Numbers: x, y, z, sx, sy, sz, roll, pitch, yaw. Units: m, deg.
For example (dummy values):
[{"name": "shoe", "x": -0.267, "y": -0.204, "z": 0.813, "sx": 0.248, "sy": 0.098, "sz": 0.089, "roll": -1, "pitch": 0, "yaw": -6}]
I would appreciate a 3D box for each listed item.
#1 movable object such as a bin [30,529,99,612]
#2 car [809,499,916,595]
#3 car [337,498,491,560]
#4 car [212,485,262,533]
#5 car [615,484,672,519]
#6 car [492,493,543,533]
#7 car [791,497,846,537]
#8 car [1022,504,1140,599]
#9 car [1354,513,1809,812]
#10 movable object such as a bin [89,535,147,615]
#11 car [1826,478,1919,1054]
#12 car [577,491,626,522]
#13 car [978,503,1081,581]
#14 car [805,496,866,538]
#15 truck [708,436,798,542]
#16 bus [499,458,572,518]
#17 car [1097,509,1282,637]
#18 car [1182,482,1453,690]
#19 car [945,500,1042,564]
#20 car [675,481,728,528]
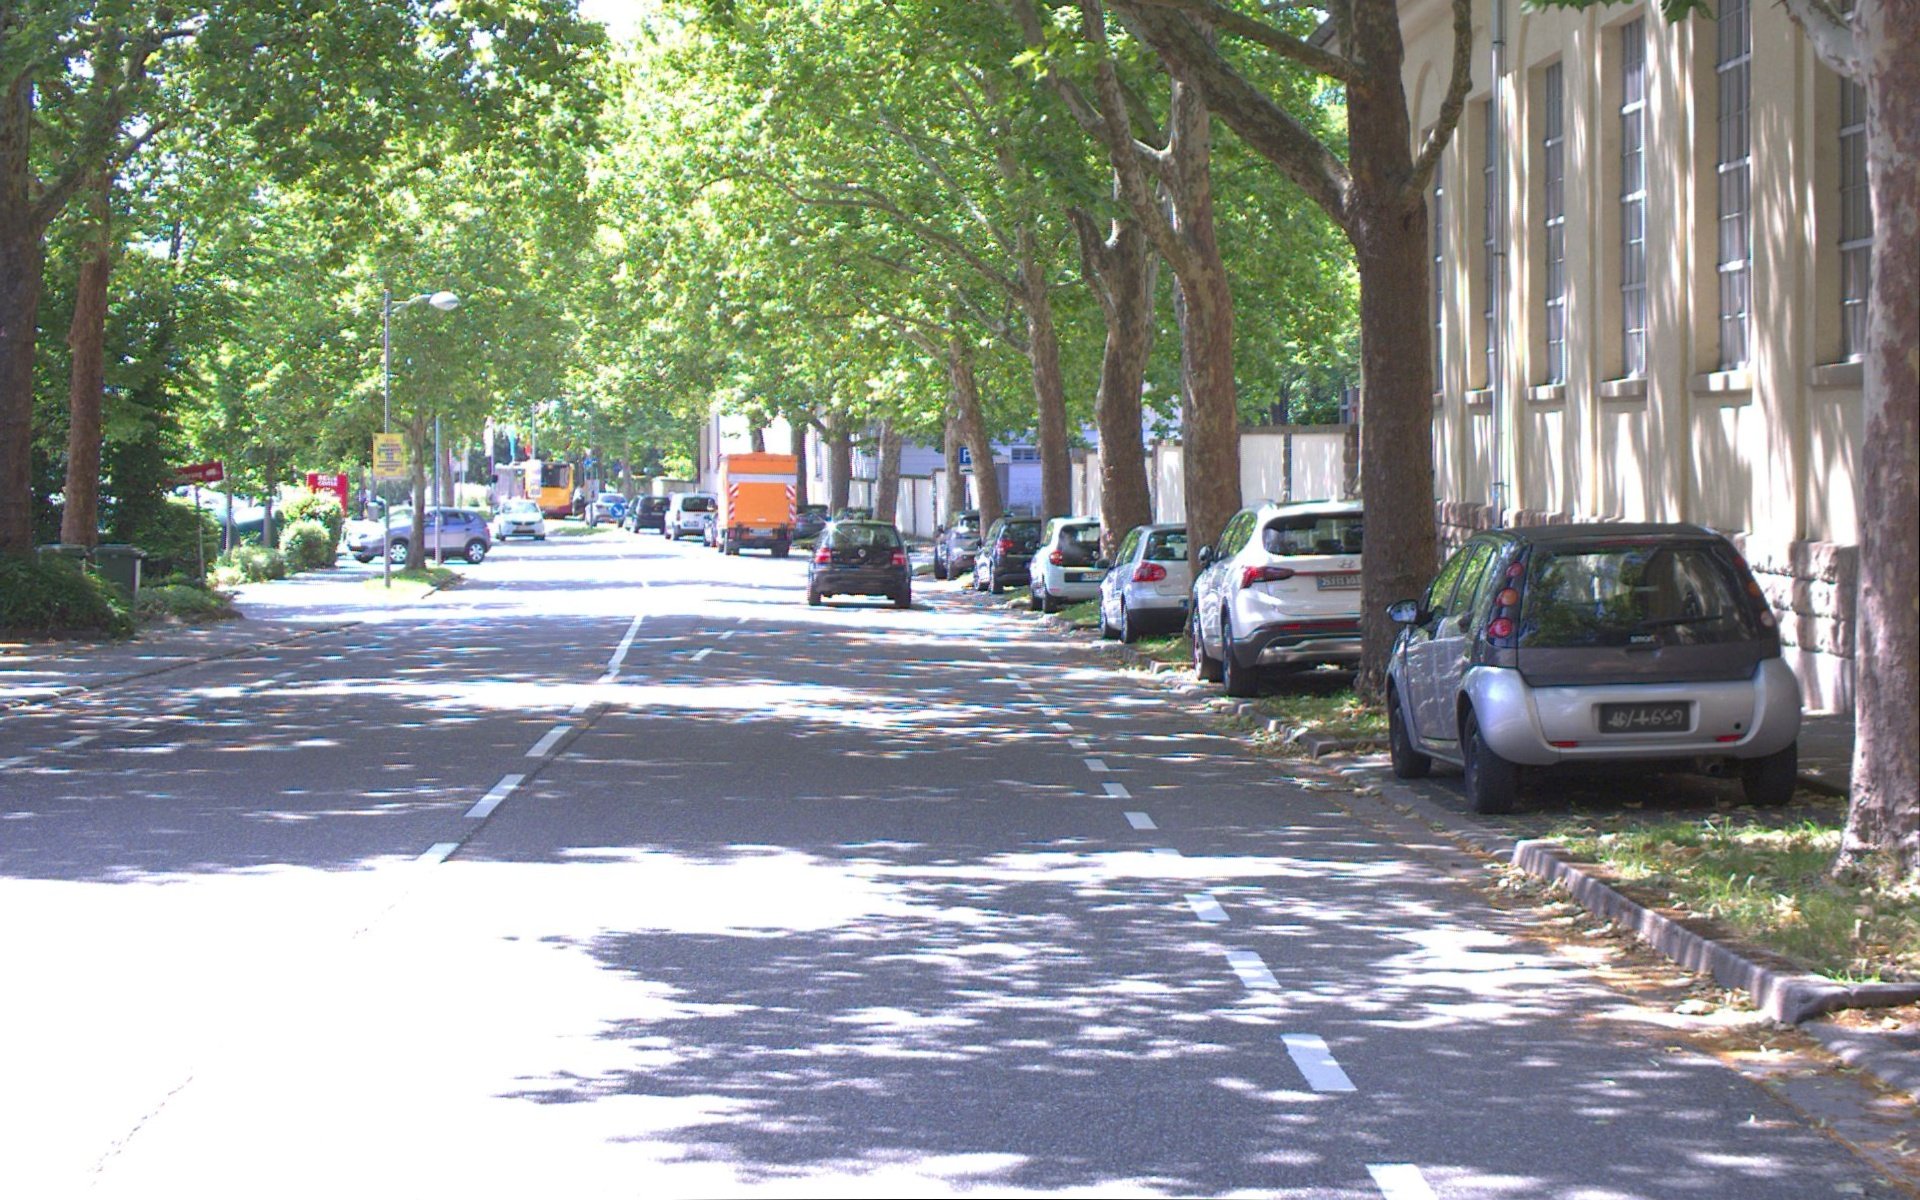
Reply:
[{"name": "movable object such as a bin", "x": -11.805, "y": -0.395, "z": 45.338, "sx": 0.734, "sy": 1.074, "sz": 0.701, "roll": 0, "pitch": 1, "yaw": -2}, {"name": "car", "x": -1.669, "y": -0.926, "z": 58.015, "sx": 1.711, "sy": 1.442, "sz": 4.059, "roll": -1, "pitch": 3, "yaw": -3}, {"name": "car", "x": -15.132, "y": -1.954, "z": 95.364, "sx": 1.997, "sy": 1.660, "sz": 3.992, "roll": 0, "pitch": 0, "yaw": 35}, {"name": "car", "x": -32.127, "y": -4.027, "z": 152.739, "sx": 1.993, "sy": 2.007, "sz": 4.001, "roll": 0, "pitch": 0, "yaw": -14}, {"name": "car", "x": -13.299, "y": -4.130, "z": 144.234, "sx": 1.766, "sy": 1.369, "sz": 3.731, "roll": -2, "pitch": 2, "yaw": -14}, {"name": "car", "x": -16.737, "y": -3.279, "z": 130.165, "sx": 1.711, "sy": 1.442, "sz": 4.059, "roll": -1, "pitch": 1, "yaw": -5}, {"name": "car", "x": -5.215, "y": -3.054, "z": 126.568, "sx": 1.766, "sy": 1.369, "sz": 3.731, "roll": -2, "pitch": 1, "yaw": -6}, {"name": "car", "x": 1.952, "y": -0.816, "z": 56.204, "sx": 1.577, "sy": 1.461, "sz": 3.876, "roll": -2, "pitch": 1, "yaw": -3}, {"name": "car", "x": 3.333, "y": 0.255, "z": 19.237, "sx": 1.621, "sy": 1.434, "sz": 4.433, "roll": -2, "pitch": 1, "yaw": -1}, {"name": "movable object such as a bin", "x": -11.111, "y": -0.333, "z": 45.381, "sx": 0.623, "sy": 1.045, "sz": 0.620, "roll": 0, "pitch": 1, "yaw": -1}, {"name": "car", "x": 3.444, "y": 0.483, "z": 7.766, "sx": 1.741, "sy": 1.552, "sz": 4.780, "roll": -2, "pitch": 2, "yaw": 0}, {"name": "car", "x": -16.632, "y": -4.334, "z": 159.460, "sx": 1.766, "sy": 1.369, "sz": 3.731, "roll": -2, "pitch": 2, "yaw": -13}, {"name": "car", "x": 1.356, "y": -1.176, "z": 68.676, "sx": 1.766, "sy": 1.461, "sz": 3.876, "roll": -2, "pitch": 1, "yaw": -3}, {"name": "car", "x": -4.146, "y": -2.741, "z": 114.390, "sx": 1.766, "sy": 1.369, "sz": 3.731, "roll": 0, "pitch": 1, "yaw": -6}, {"name": "truck", "x": -6.453, "y": -3.406, "z": 106.608, "sx": 2.370, "sy": 3.123, "sz": 5.770, "roll": 0, "pitch": 0, "yaw": -7}, {"name": "bus", "x": -23.360, "y": -6.112, "z": 188.844, "sx": 2.663, "sy": 3.139, "sz": 11.201, "roll": -1, "pitch": 1, "yaw": -14}, {"name": "car", "x": 2.727, "y": -0.358, "z": 41.599, "sx": 1.766, "sy": 1.428, "sz": 3.876, "roll": -2, "pitch": 1, "yaw": -3}, {"name": "car", "x": 3.128, "y": -0.173, "z": 30.984, "sx": 1.808, "sy": 1.683, "sz": 4.752, "roll": -2, "pitch": 1, "yaw": -1}, {"name": "car", "x": 0.733, "y": -1.553, "z": 78.302, "sx": 1.766, "sy": 1.369, "sz": 3.731, "roll": -2, "pitch": 1, "yaw": -6}, {"name": "car", "x": -9.760, "y": -3.582, "z": 129.604, "sx": 1.879, "sy": 1.680, "sz": 4.001, "roll": 0, "pitch": 0, "yaw": -6}]
